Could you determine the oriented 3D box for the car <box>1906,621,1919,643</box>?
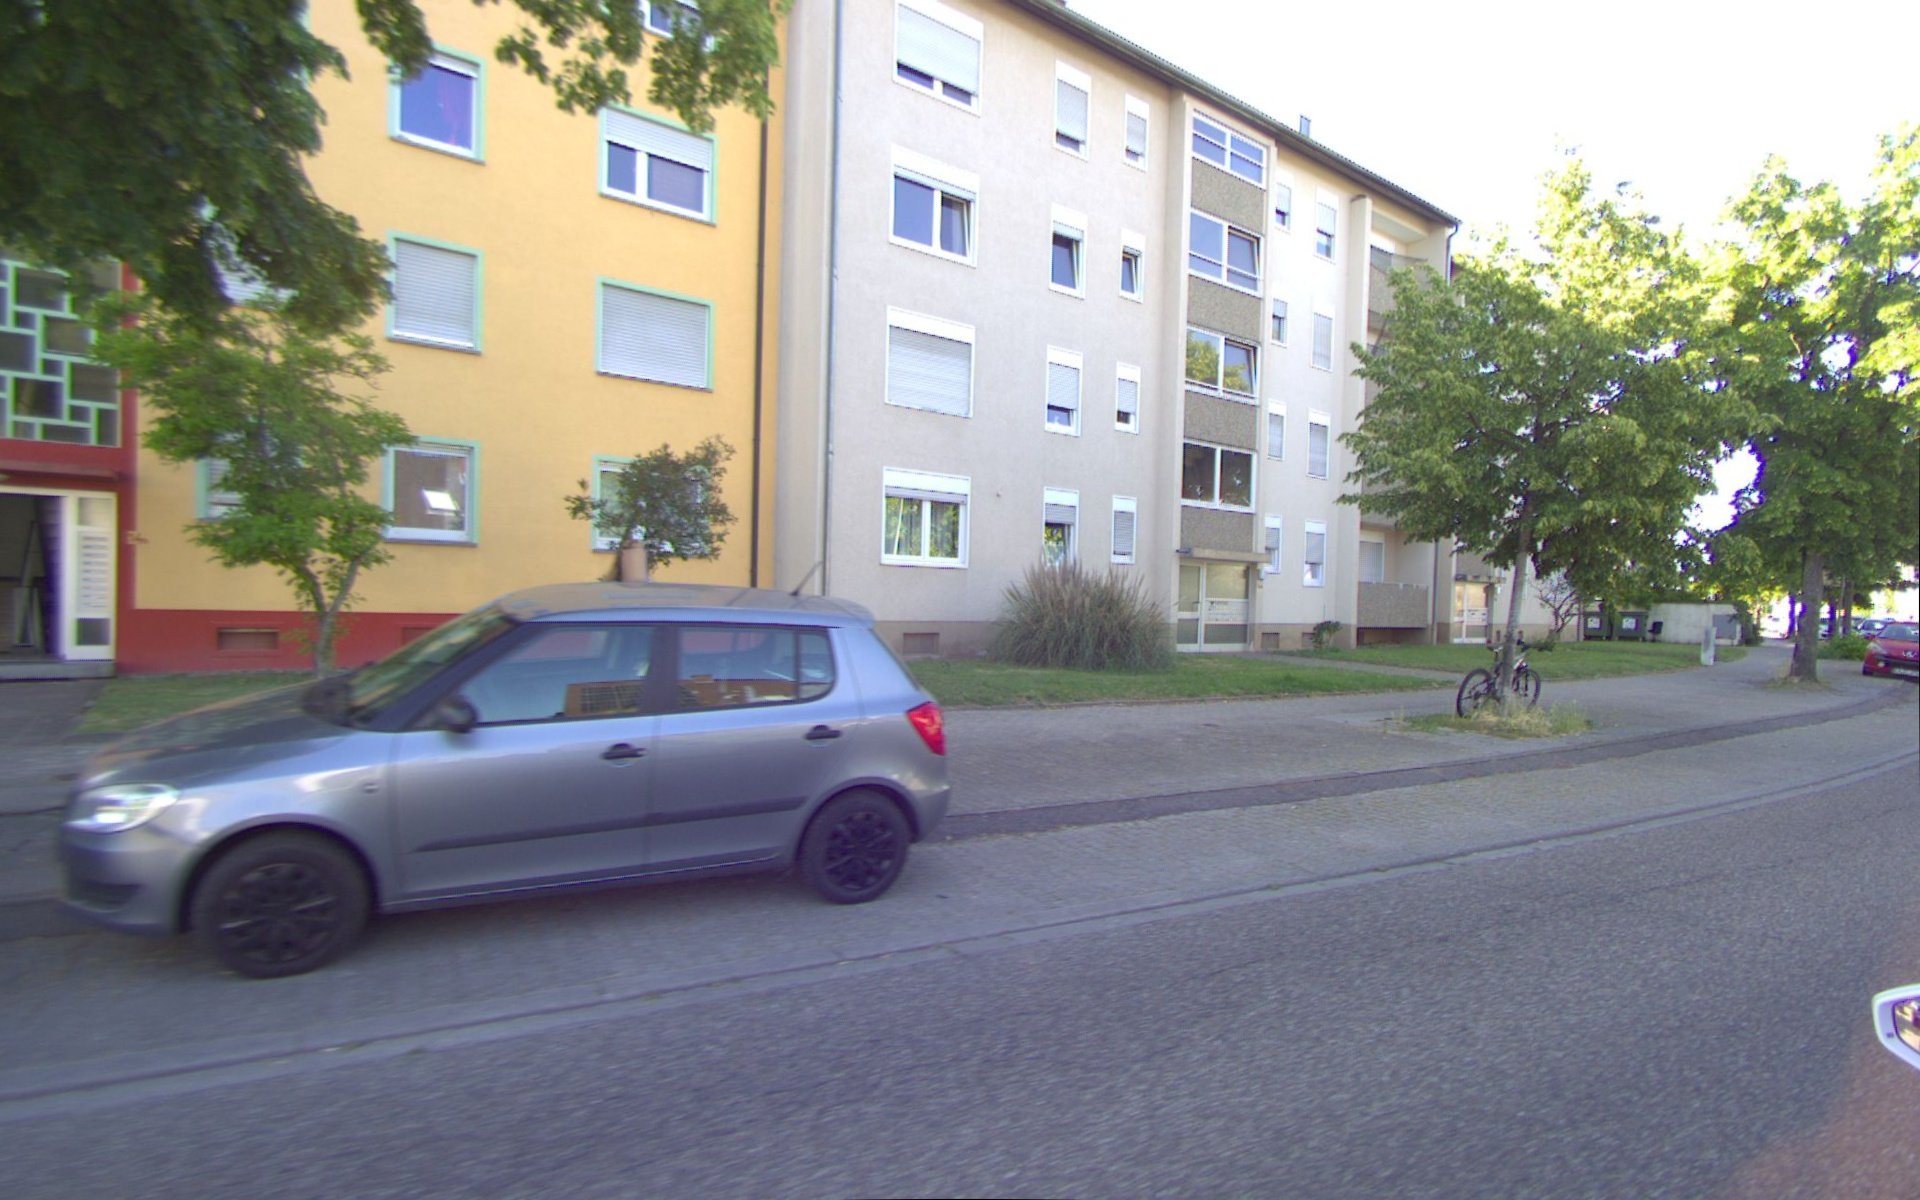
[{"bbox_3d":[81.315,2.719,84.472,1.980,1.747,4.278,2,0,37],"label":"car"}]

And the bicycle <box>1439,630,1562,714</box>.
[{"bbox_3d":[6.773,0.883,12.550,1.861,0.982,0.366,1,0,-28],"label":"bicycle"}]

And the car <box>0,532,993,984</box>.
[{"bbox_3d":[-1.934,0.551,5.042,3.866,1.551,1.562,1,5,-26],"label":"car"}]

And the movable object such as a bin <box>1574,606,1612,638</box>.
[{"bbox_3d":[28.289,0.989,44.898,1.080,1.339,1.161,4,-1,-43],"label":"movable object such as a bin"}]

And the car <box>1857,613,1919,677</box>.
[{"bbox_3d":[24.999,1.177,26.476,4.262,1.511,1.672,2,1,-44],"label":"car"}]

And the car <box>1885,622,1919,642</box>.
[{"bbox_3d":[89.996,3.075,95.955,1.980,1.747,4.278,2,0,37],"label":"car"}]

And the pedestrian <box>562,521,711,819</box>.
[{"bbox_3d":[-2.051,0.424,6.338,0.711,1.741,0.683,3,-1,-27],"label":"pedestrian"}]

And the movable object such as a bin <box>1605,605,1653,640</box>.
[{"bbox_3d":[29.227,0.970,43.864,1.080,1.446,1.503,4,-1,-43],"label":"movable object such as a bin"}]

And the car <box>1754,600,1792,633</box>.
[{"bbox_3d":[62.233,1.255,76.848,1.883,2.199,4.269,11,7,40],"label":"car"}]

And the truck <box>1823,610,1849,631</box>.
[{"bbox_3d":[119.335,2.806,136.865,2.177,2.633,5.125,2,-1,37],"label":"truck"}]
